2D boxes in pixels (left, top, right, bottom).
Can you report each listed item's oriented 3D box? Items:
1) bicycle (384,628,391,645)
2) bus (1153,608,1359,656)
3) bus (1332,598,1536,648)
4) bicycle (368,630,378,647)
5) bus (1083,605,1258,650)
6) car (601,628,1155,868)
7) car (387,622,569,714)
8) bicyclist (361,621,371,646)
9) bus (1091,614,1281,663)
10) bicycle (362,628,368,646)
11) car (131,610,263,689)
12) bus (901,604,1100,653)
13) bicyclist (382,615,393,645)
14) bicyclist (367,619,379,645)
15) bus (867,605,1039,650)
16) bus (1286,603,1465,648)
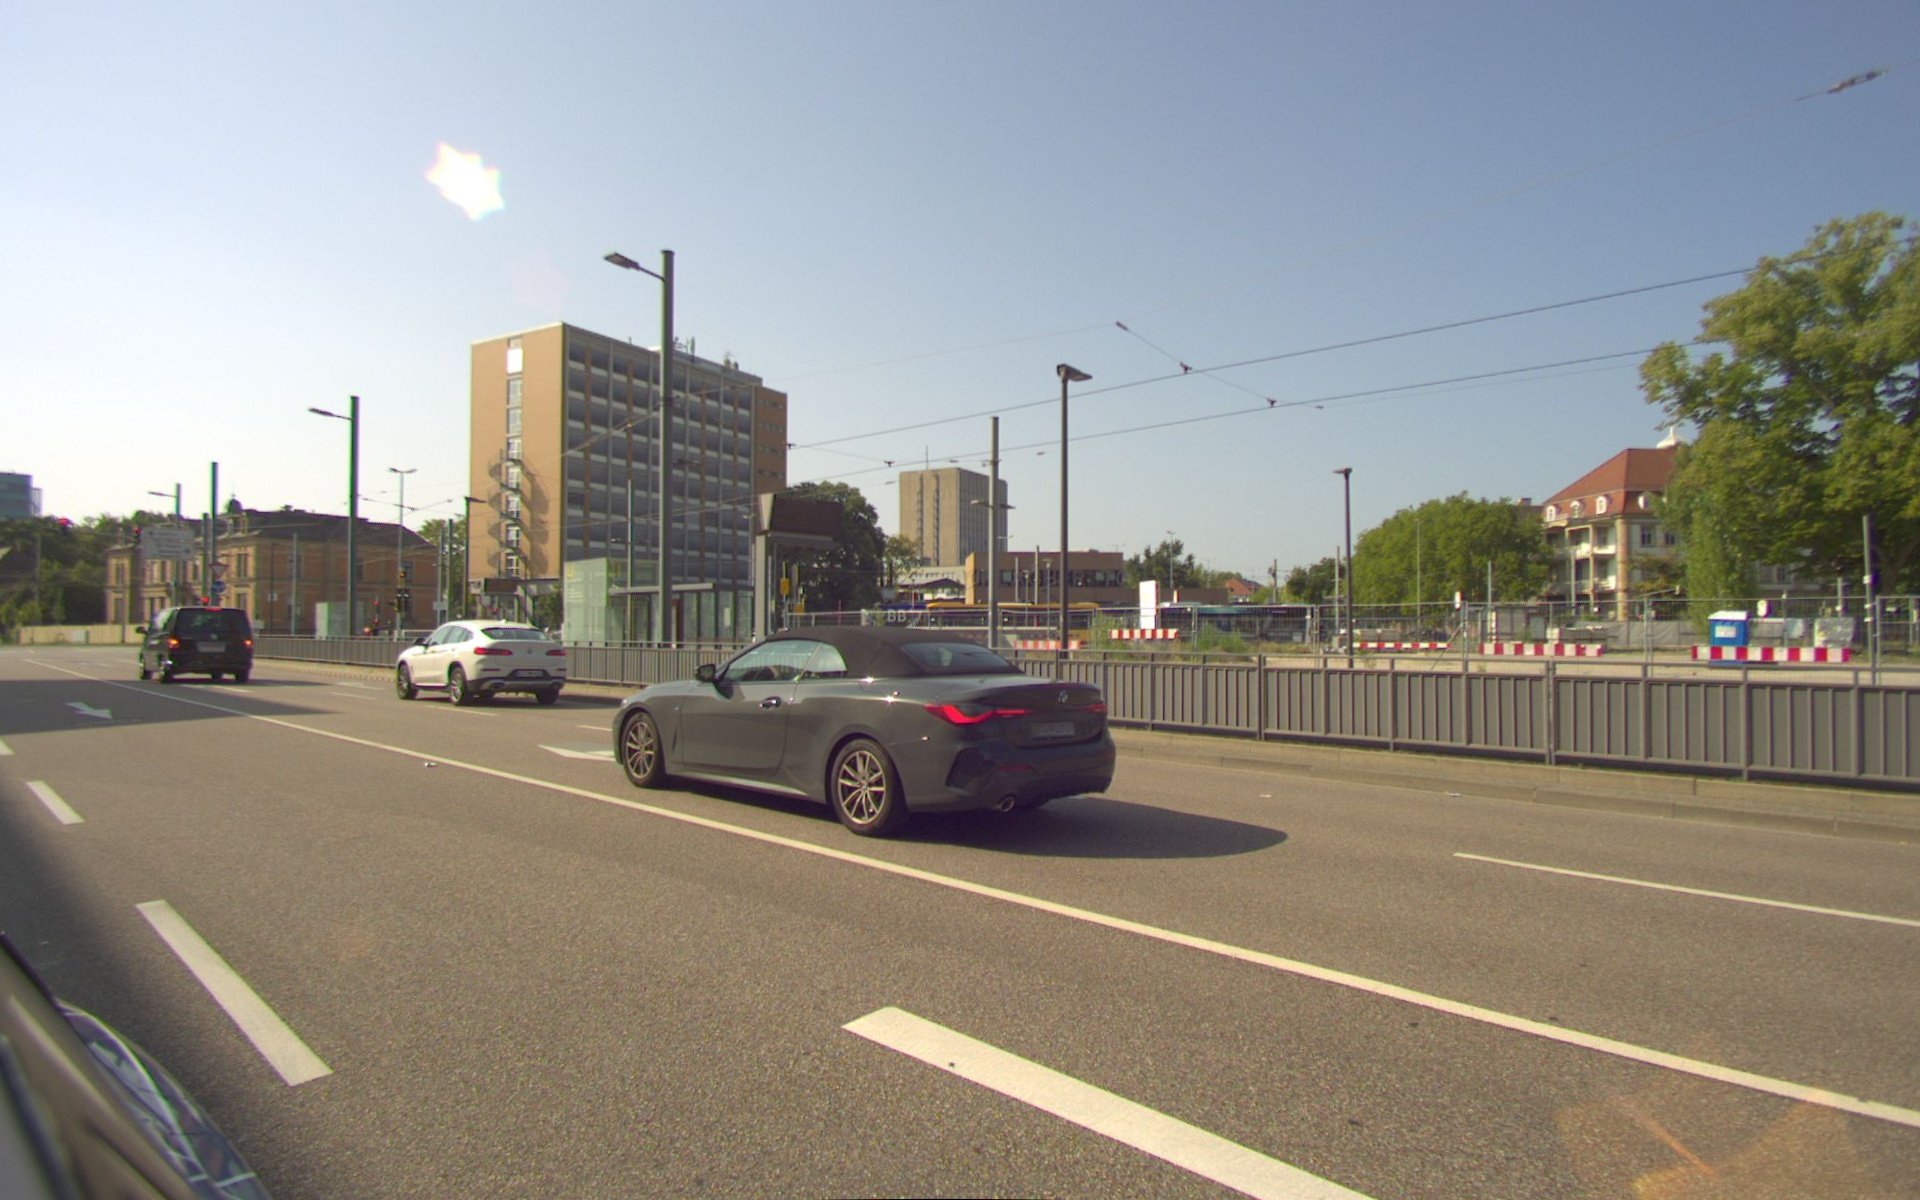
[{"bbox_3d":[-38.455,2.447,67.965,0.371,1.174,1.864,1,-3,-31],"label":"bicycle"},{"bbox_3d":[20.137,2.210,69.331,13.118,3.203,3.227,0,-2,-3],"label":"bus"},{"bbox_3d":[33.692,1.668,72.279,13.119,3.445,3.227,0,-2,-3],"label":"bus"},{"bbox_3d":[-37.727,2.459,65.034,0.396,1.118,1.750,2,-2,-36],"label":"bicycle"},{"bbox_3d":[16.522,2.180,80.049,13.119,3.445,3.227,0,-2,-3],"label":"bus"},{"bbox_3d":[-0.881,0.915,7.879,4.521,1.341,1.694,-1,-4,43],"label":"car"},{"bbox_3d":[-9.663,1.287,20.141,4.505,1.624,1.694,-1,-4,43],"label":"car"},{"bbox_3d":[-39.374,2.192,67.092,0.503,1.642,0.810,1,-3,-32],"label":"bicyclist"},{"bbox_3d":[16.373,2.845,73.889,13.119,3.445,3.227,0,-2,-3],"label":"bus"},{"bbox_3d":[-39.436,2.427,67.102,0.306,1.174,1.503,1,-3,-31],"label":"bicycle"},{"bbox_3d":[-20.518,1.303,27.157,4.716,1.919,1.972,-1,-4,43],"label":"car"},{"bbox_3d":[2.618,1.940,68.333,13.117,3.203,3.227,0,-2,-3],"label":"bus"},{"bbox_3d":[-38.382,2.036,67.875,0.571,1.989,0.810,1,-3,-32],"label":"bicyclist"},{"bbox_3d":[-37.770,2.084,65.138,0.579,1.669,0.792,2,-3,-36],"label":"bicyclist"},{"bbox_3d":[-0.613,2.162,79.164,13.119,3.445,3.227,0,-2,-3],"label":"bus"},{"bbox_3d":[33.249,2.068,81.279,13.119,3.445,3.227,0,-2,-3],"label":"bus"}]
